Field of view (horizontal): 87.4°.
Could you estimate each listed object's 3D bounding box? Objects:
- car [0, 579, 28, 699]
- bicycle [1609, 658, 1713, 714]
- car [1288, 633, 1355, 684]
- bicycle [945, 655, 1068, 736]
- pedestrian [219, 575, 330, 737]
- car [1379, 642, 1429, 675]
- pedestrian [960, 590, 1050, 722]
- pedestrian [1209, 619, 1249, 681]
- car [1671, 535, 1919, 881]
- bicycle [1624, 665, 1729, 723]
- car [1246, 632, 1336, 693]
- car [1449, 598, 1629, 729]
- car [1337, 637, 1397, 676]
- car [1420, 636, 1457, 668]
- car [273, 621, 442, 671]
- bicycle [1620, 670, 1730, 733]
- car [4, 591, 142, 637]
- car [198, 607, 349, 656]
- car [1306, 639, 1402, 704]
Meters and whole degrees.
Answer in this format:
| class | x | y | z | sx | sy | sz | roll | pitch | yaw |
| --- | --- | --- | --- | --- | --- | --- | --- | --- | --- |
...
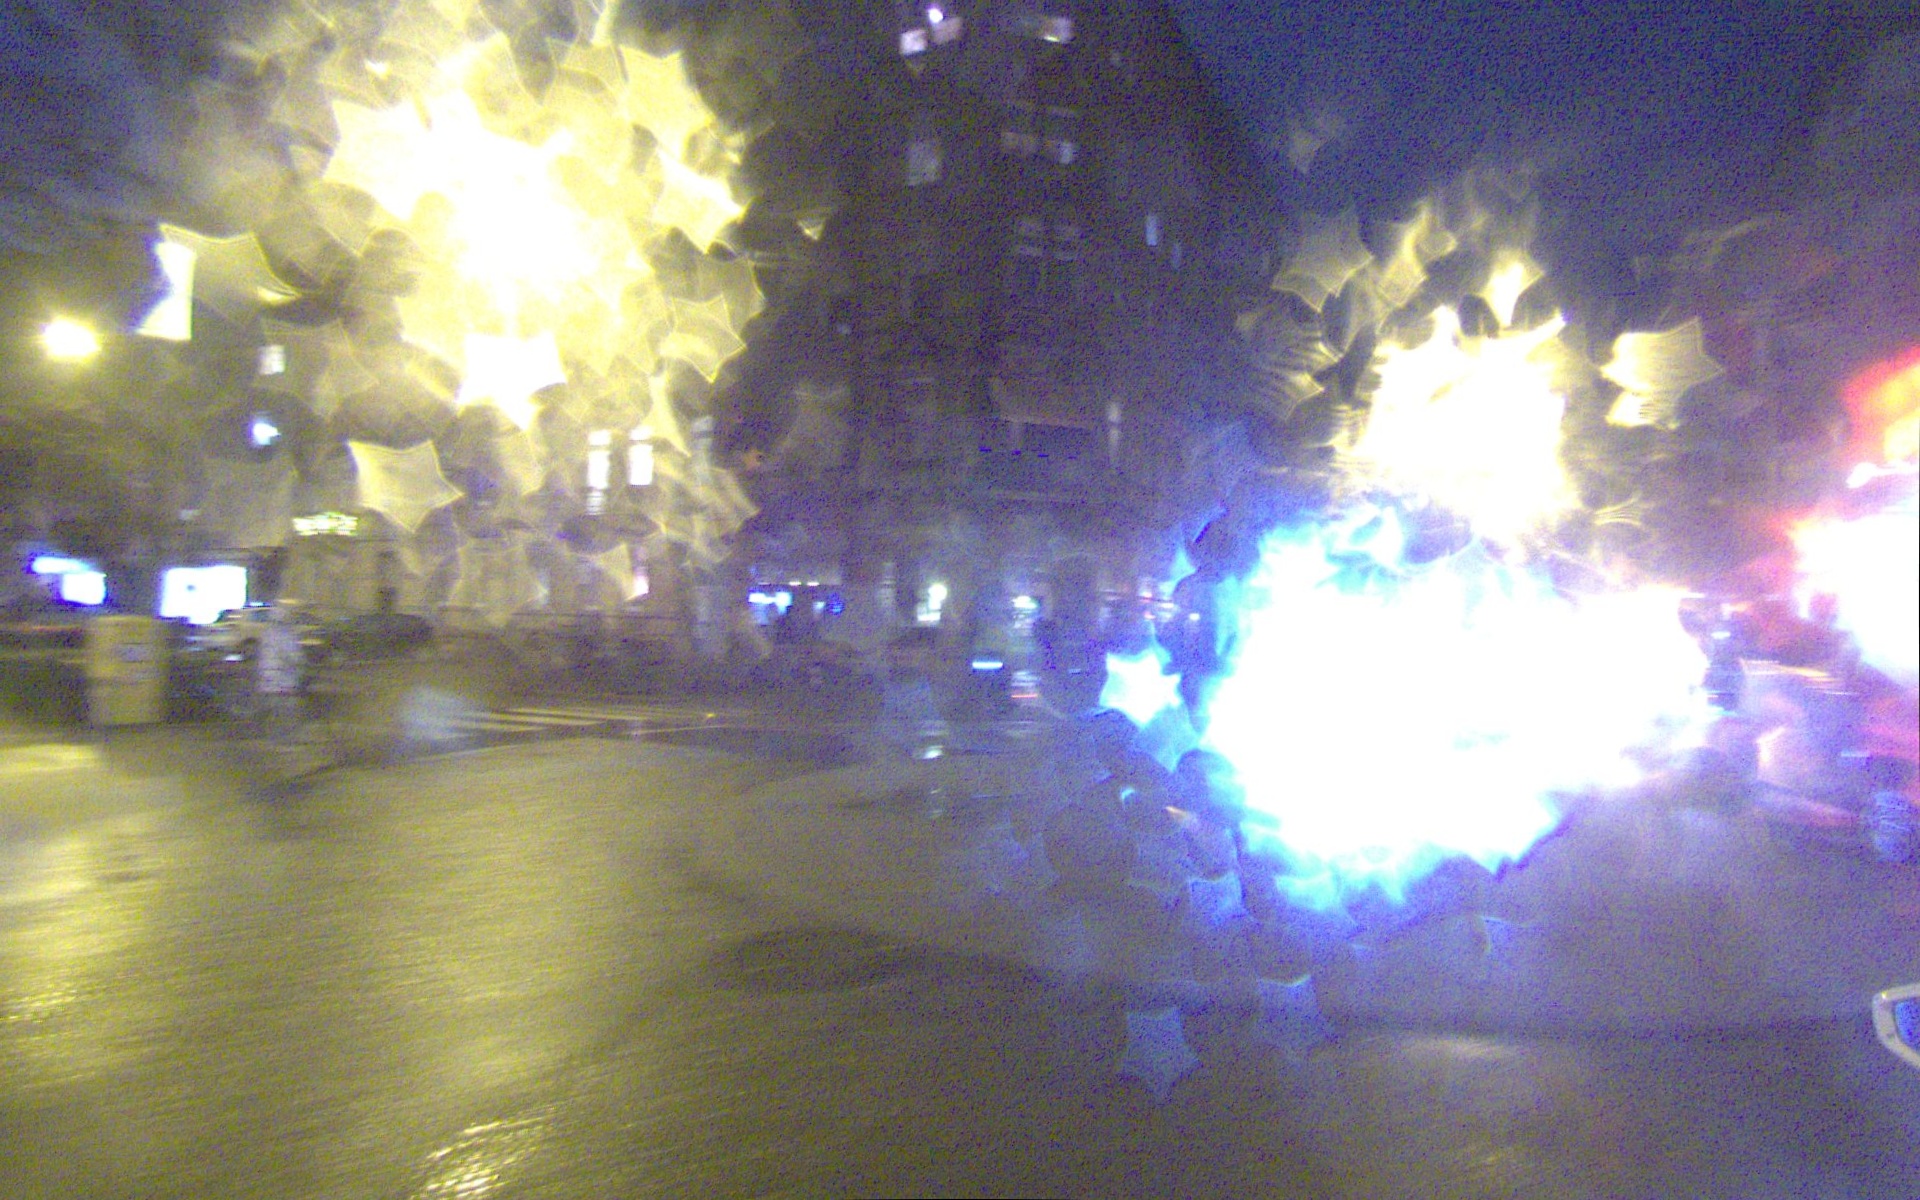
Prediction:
| class | x | y | z | sx | sy | sz | roll | pitch | yaw |
| --- | --- | --- | --- | --- | --- | --- | --- | --- | --- |
| car | -18.387 | 0.571 | 16.582 | 1.966 | 2.040 | 3.989 | 3 | -1 | 34 |
| bicycle | 15.010 | 1.847 | 21.545 | 1.736 | 1.139 | 0.435 | -3 | -3 | 29 |
| car | 11.932 | 1.906 | 33.078 | 1.563 | 1.530 | 2.782 | 2 | -1 | 30 |
| bicycle | 0.698 | 1.365 | 14.684 | 1.788 | 1.073 | 0.706 | 2 | -1 | -41 |
| pedestrian | -8.395 | 0.680 | 12.309 | 0.788 | 1.882 | 0.941 | -2 | -3 | 43 |
| car | 22.944 | 2.988 | 51.824 | 1.964 | 1.468 | 3.994 | 3 | -1 | 29 |
| pedestrian | 0.662 | 0.800 | 14.651 | 1.116 | 1.835 | 0.706 | 2 | -1 | -41 |
| pedestrian | 8.153 | 1.517 | 30.424 | 0.793 | 1.789 | 1.012 | 3 | -1 | 36 |
| car | 7.256 | 0.719 | 7.383 | 2.087 | 2.017 | 4.601 | 2 | -1 | 20 |
| bicycle | 14.903 | 1.934 | 20.933 | 1.735 | 1.093 | 0.435 | 1 | -1 | 29 |
| car | 9.509 | 1.734 | 28.696 | 1.563 | 1.483 | 4.016 | 5 | 0 | 30 |
| car | 10.184 | 1.044 | 18.069 | 2.088 | 1.948 | 4.825 | 2 | -1 | 22 |
| car | 16.748 | 2.271 | 41.205 | 1.665 | 1.419 | 4.309 | 2 | -1 | 30 |
| car | 33.845 | 3.669 | 70.976 | 1.964 | 2.040 | 3.994 | 3 | -1 | 30 |
| car | -16.676 | 1.270 | 27.958 | 1.564 | 1.292 | 3.712 | -1 | -2 | 32 |
| bicycle | 14.342 | 2.023 | 20.198 | 1.756 | 1.140 | 0.435 | 0 | -1 | 29 |
| car | -33.960 | 0.583 | 38.547 | 1.564 | 1.649 | 3.664 | 0 | -2 | 32 |
| car | -20.910 | 0.974 | 30.715 | 1.564 | 1.422 | 3.454 | -1 | -2 | 32 |
| car | 9.693 | 1.681 | 24.568 | 1.540 | 1.446 | 4.061 | 0 | -2 | 31 |
